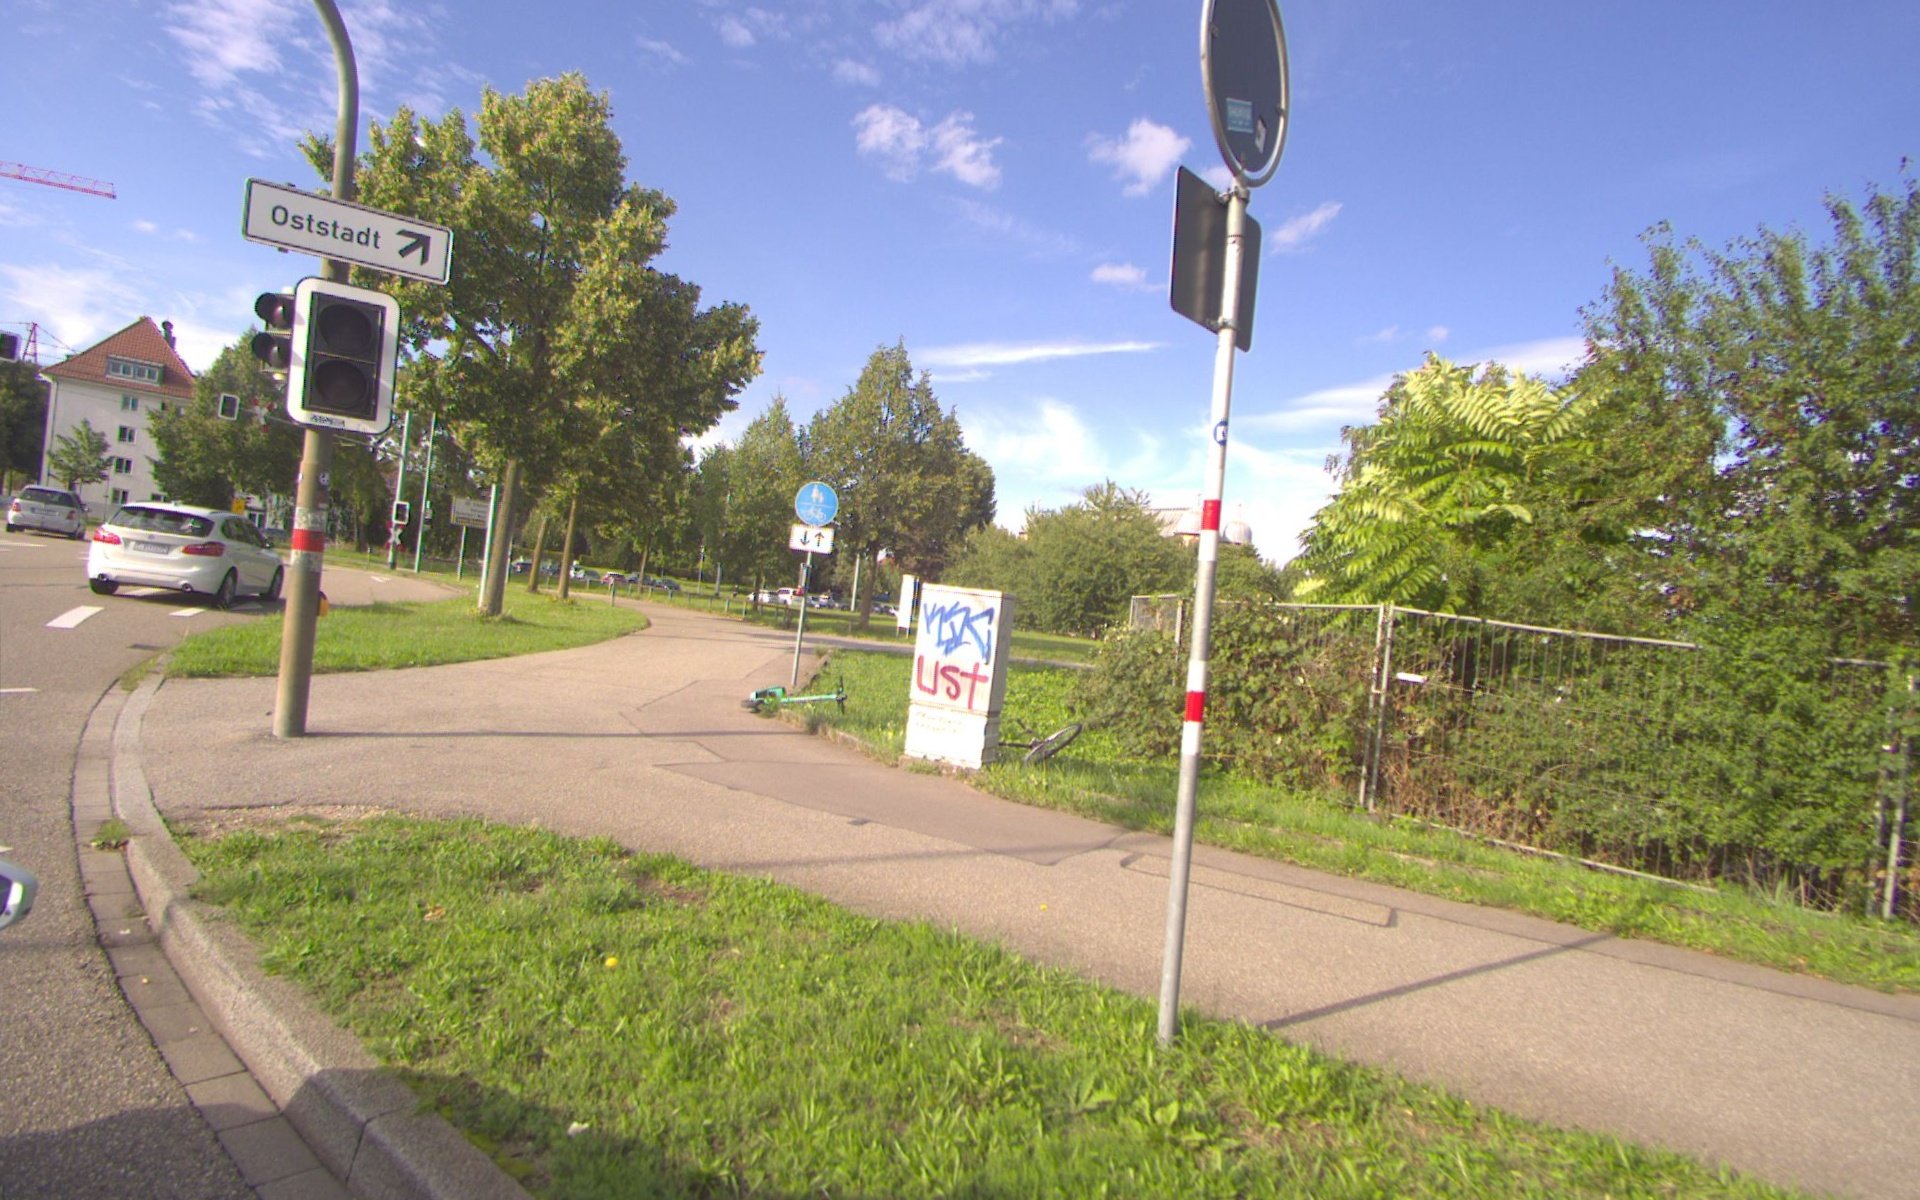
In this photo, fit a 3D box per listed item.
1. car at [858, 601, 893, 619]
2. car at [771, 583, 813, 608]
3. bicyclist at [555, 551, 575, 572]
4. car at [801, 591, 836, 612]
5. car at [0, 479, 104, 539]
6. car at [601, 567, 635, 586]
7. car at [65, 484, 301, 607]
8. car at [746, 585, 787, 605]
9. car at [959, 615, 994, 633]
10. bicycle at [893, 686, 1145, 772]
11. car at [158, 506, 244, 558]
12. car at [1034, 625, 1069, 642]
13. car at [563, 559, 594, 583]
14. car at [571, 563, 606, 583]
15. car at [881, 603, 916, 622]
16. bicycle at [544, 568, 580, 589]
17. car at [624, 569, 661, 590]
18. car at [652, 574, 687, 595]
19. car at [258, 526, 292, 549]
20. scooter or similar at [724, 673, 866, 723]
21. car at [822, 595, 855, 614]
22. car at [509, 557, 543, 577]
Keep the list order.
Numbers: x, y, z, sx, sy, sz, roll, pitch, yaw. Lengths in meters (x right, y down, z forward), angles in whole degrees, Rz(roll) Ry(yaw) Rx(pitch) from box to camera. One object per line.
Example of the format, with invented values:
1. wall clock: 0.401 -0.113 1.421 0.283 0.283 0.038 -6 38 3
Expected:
1. car: -8.865 1.048 104.735 1.840 1.416 4.436 7 -1 -29
2. car: -16.629 -0.460 99.193 2.291 2.032 5.075 7 -1 -30
3. bicyclist: -28.958 -2.811 73.784 0.701 1.372 1.004 7 1 26
4. car: -14.243 0.102 101.060 2.076 1.694 4.443 7 -1 -25
5. car: -29.345 -2.882 32.568 1.840 1.495 4.415 8 -2 -34
6. car: -30.517 -2.088 89.697 1.842 1.379 4.431 7 -1 -33
7. car: -13.121 -0.843 17.352 1.831 1.591 4.435 8 -2 -20
8. car: -18.768 -0.514 97.408 1.847 1.534 4.419 7 -1 -40
9. car: 1.814 2.644 112.005 1.839 1.560 4.436 7 -1 -29
10. bicycle: 0.512 1.208 9.556 2.213 0.350 1.089 10 -1 -8
11. car: -26.404 -2.373 34.936 1.845 1.443 4.401 9 -2 -43
12. car: 10.841 3.999 119.181 1.839 1.560 4.436 7 -1 -29
13. car: -37.578 -2.880 99.034 1.859 2.036 4.774 9 -3 -30
14. car: -32.669 -2.373 88.383 1.842 1.374 4.792 7 -1 -33
15. car: -6.508 1.319 106.061 1.840 1.523 4.436 7 -1 -29
16. bicycle: -29.130 -1.573 73.709 0.701 1.237 2.526 7 0 25
17. car: -28.679 -1.829 90.733 1.842 1.534 4.903 7 -1 -33
18. car: -26.701 -1.446 92.379 1.842 1.534 4.431 7 -1 -33
19. car: -51.054 -4.650 74.992 1.842 1.398 4.476 7 -1 -33
20. scooter or similar: -1.810 1.087 11.349 1.269 0.284 1.553 7 0 2
21. car: -12.366 0.433 102.158 2.011 1.534 4.088 7 -1 -25
22. car: -36.719 -2.815 85.031 1.842 1.376 4.693 7 -1 -33
